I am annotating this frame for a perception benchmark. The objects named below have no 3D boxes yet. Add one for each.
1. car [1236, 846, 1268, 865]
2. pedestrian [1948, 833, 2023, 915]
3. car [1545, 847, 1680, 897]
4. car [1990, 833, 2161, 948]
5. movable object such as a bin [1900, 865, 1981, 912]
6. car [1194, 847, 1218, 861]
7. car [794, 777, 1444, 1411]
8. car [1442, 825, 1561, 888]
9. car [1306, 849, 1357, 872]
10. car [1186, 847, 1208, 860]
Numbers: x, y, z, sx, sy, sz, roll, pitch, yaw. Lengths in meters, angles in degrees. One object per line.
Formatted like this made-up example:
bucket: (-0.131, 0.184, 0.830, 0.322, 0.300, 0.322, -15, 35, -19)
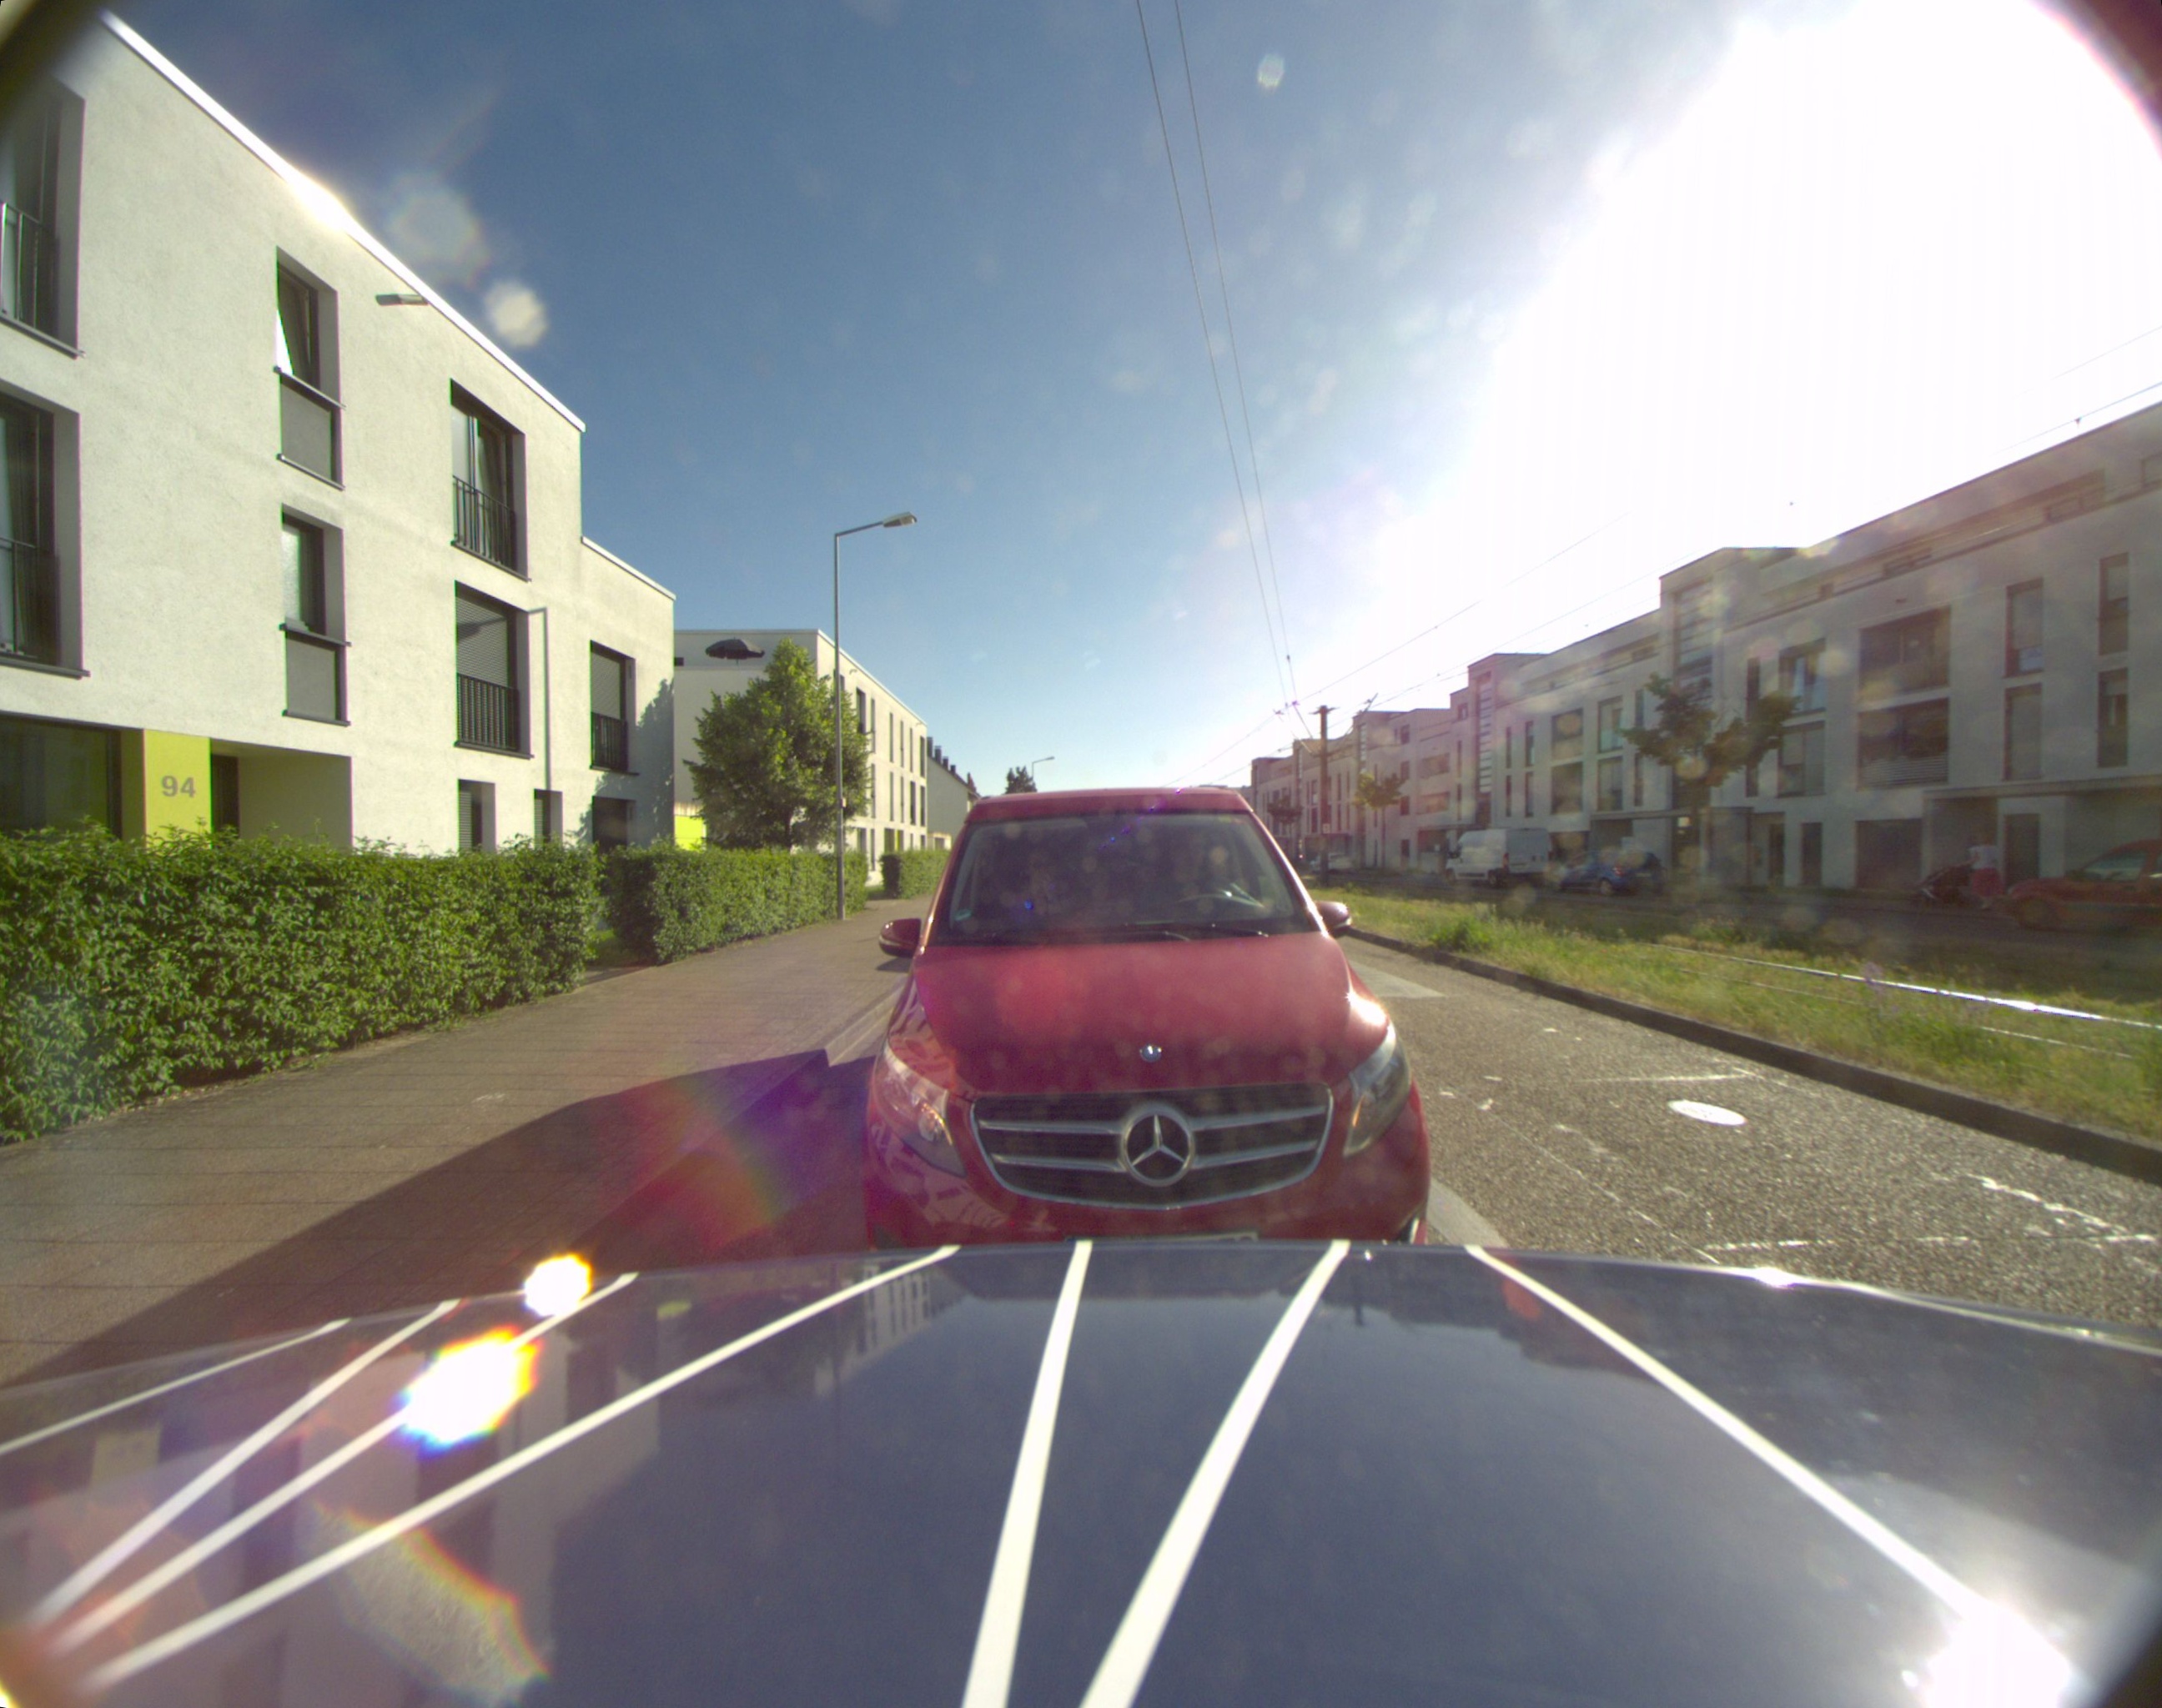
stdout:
car: (16.710, 0.128, 74.354, 1.923, 1.671, 4.282, -2, 1, -4)
pedestrian: (20.645, 0.442, 17.360, 0.776, 1.812, 0.785, -2, 1, 1)
car: (18.371, 0.574, 26.499, 1.999, 1.536, 3.835, -2, 1, 0)
car: (18.612, 0.578, 12.809, 1.998, 1.817, 3.895, -2, 1, 3)
movable object such as a bin: (20.679, 0.809, 18.306, 0.729, 1.048, 1.083, -2, 1, 1)
car: (15.464, -0.044, 93.906, 1.923, 1.671, 4.282, -2, 1, -4)
car: (0.148, 0.702, 4.523, 1.874, 1.843, 4.506, -2, 1, 1)
car: (18.163, 0.072, 33.171, 2.225, 2.458, 5.195, -2, 1, 0)
car: (17.626, 0.411, 53.740, 1.923, 1.497, 4.282, -2, 1, -4)
car: (15.177, -0.066, 99.657, 1.923, 1.671, 4.282, -2, 1, -4)
